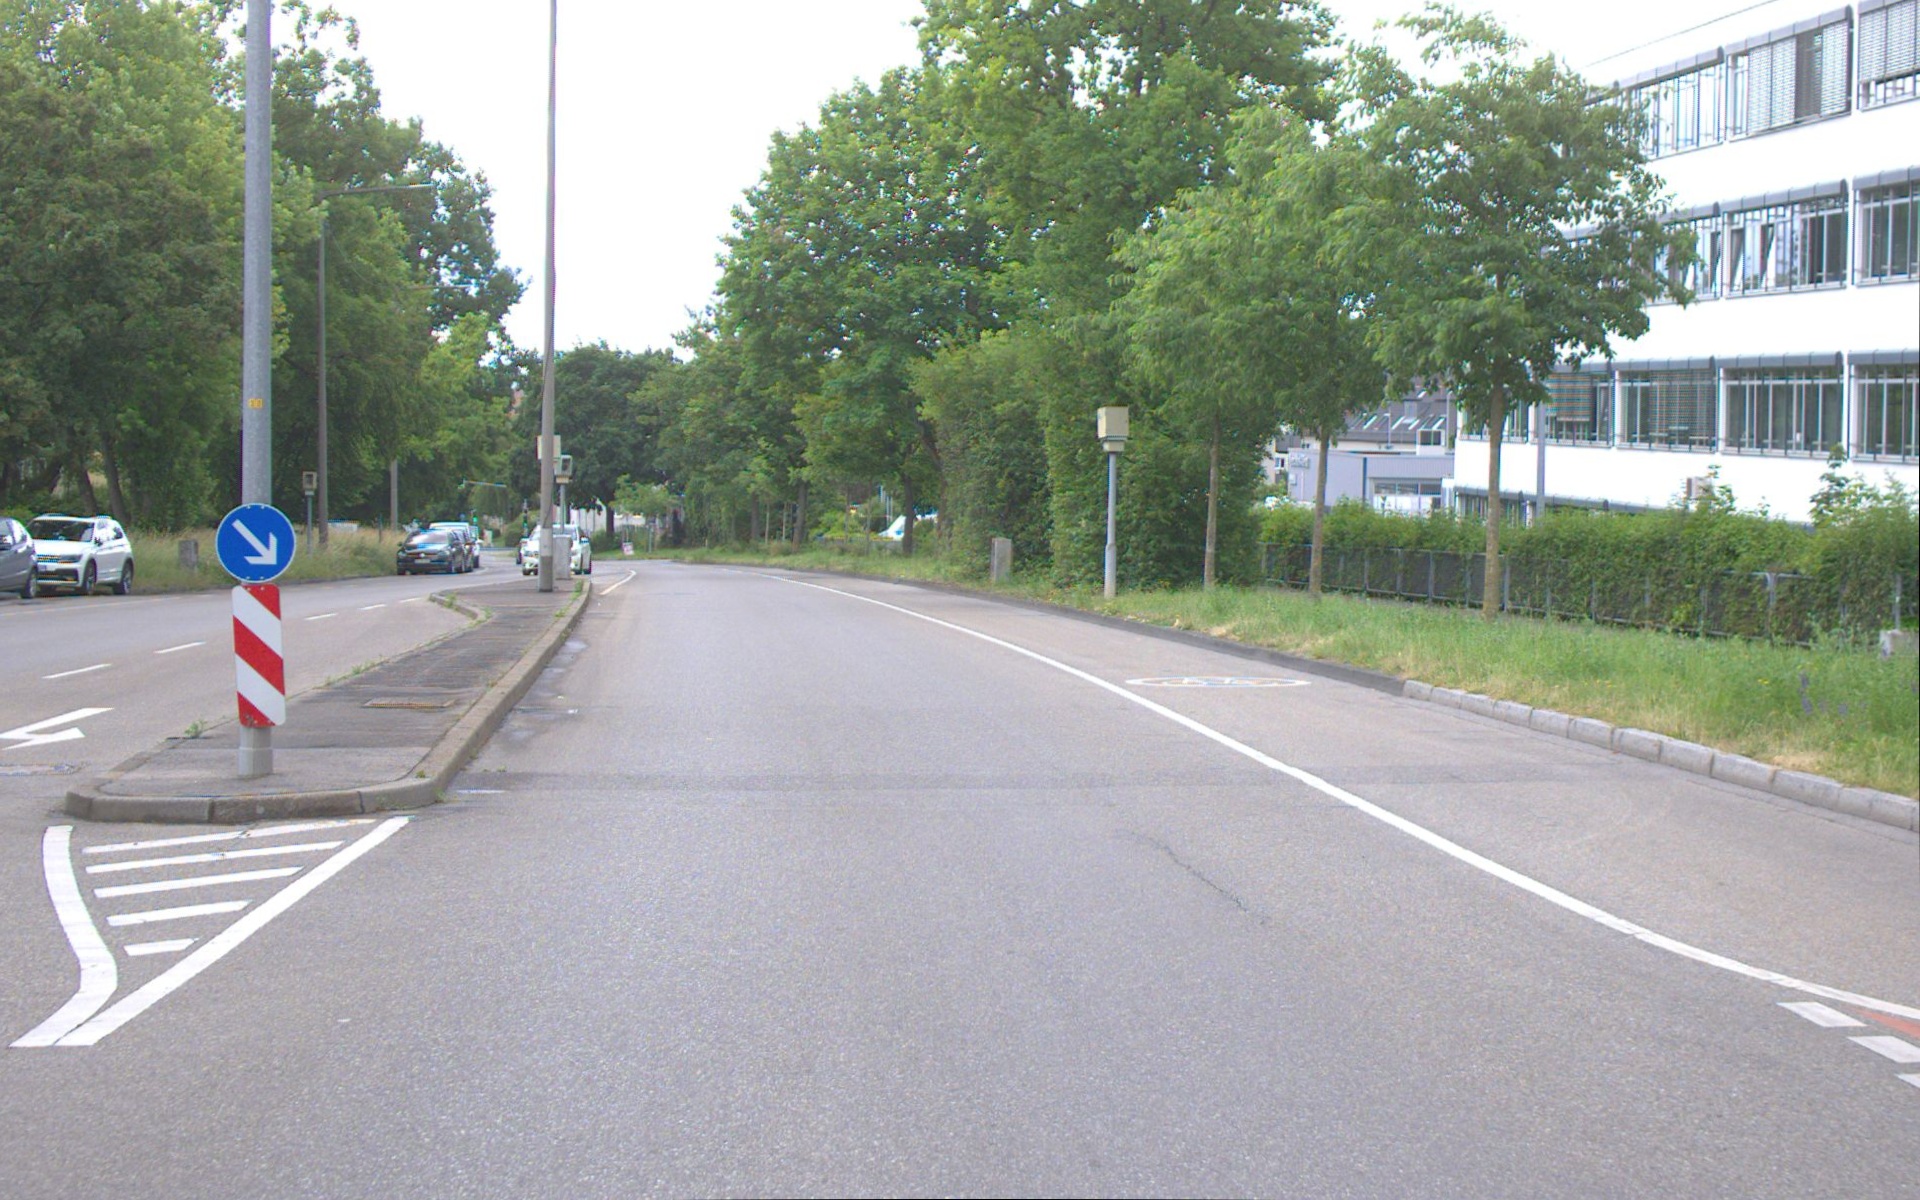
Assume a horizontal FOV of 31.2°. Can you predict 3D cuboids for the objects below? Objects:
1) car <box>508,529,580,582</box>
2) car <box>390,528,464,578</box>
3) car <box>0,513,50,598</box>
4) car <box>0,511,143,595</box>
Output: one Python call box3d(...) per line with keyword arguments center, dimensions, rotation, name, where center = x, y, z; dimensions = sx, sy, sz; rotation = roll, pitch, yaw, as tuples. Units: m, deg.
box3d(center=(-12.601, -1.328, 104.322), dimensions=(1.875, 1.565, 4.339), rotation=(1, 0, -3), name="car")
box3d(center=(-17.027, -1.510, 109.937), dimensions=(1.875, 1.565, 4.651), rotation=(0, 1, -3), name="car")
box3d(center=(-18.886, -0.840, 65.487), dimensions=(1.875, 1.591, 4.000), rotation=(1, 0, 3), name="car")
box3d(center=(-18.344, -0.945, 70.646), dimensions=(1.875, 1.661, 4.390), rotation=(1, 0, 3), name="car")
